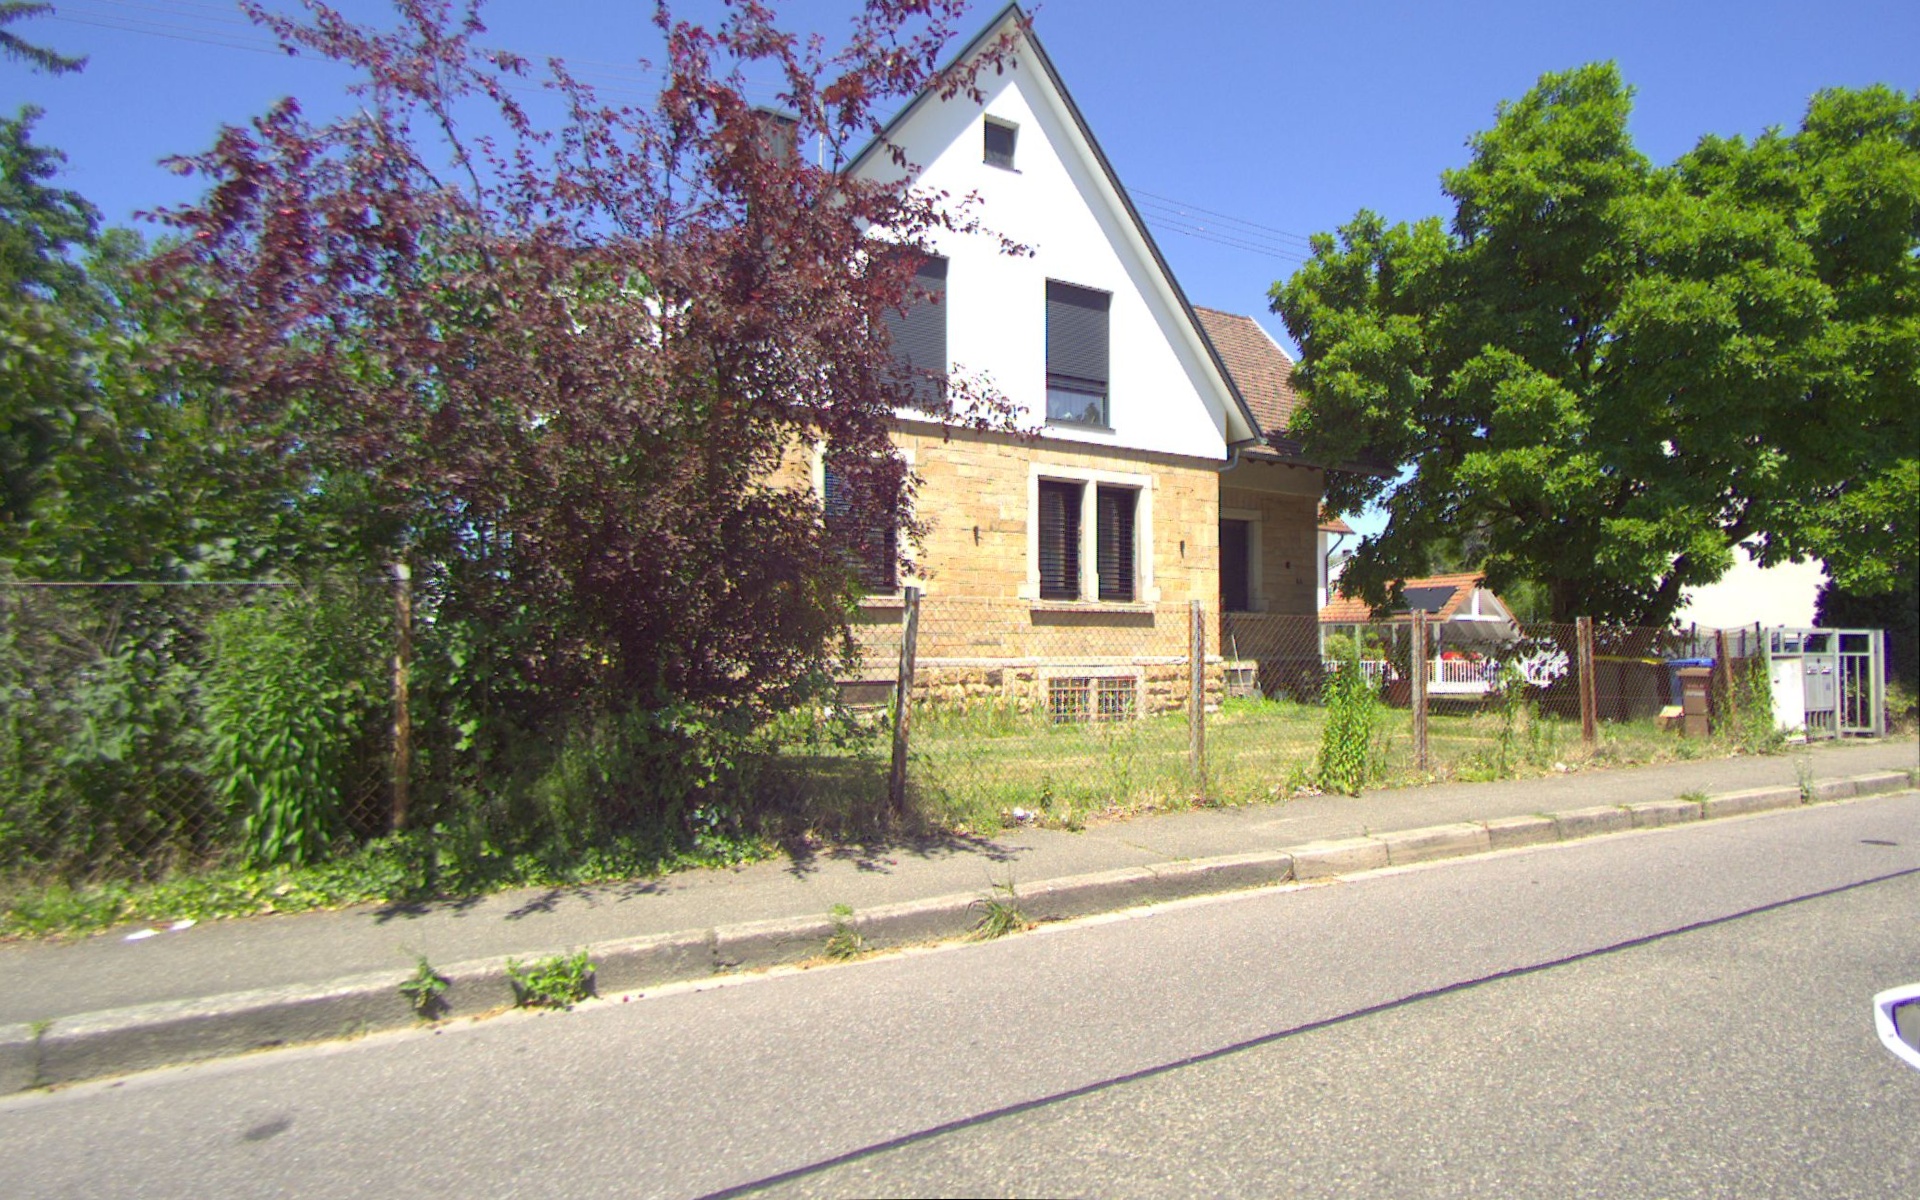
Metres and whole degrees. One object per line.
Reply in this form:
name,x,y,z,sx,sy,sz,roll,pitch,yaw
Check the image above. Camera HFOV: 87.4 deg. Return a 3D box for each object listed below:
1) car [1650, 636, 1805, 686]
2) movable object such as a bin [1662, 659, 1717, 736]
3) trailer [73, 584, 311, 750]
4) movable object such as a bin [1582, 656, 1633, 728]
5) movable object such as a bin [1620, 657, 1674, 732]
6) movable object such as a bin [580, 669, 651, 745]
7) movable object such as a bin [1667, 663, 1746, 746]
car,26.656,2.068,35.005,1.781,1.530,3.963,2,-1,-33
movable object such as a bin,10.089,1.340,13.894,0.500,1.023,0.465,1,-1,-29
trailer,-11.583,0.966,15.478,1.796,2.200,3.868,0,-2,-20
movable object such as a bin,9.620,1.357,14.916,0.500,1.023,0.465,1,-1,-29
movable object such as a bin,9.821,1.341,14.357,0.500,1.023,0.465,1,-1,-29
movable object such as a bin,-4.097,1.256,11.928,0.714,0.839,0.564,2,-1,-27
movable object such as a bin,9.729,1.344,13.096,0.468,1.009,0.704,2,-2,-31
